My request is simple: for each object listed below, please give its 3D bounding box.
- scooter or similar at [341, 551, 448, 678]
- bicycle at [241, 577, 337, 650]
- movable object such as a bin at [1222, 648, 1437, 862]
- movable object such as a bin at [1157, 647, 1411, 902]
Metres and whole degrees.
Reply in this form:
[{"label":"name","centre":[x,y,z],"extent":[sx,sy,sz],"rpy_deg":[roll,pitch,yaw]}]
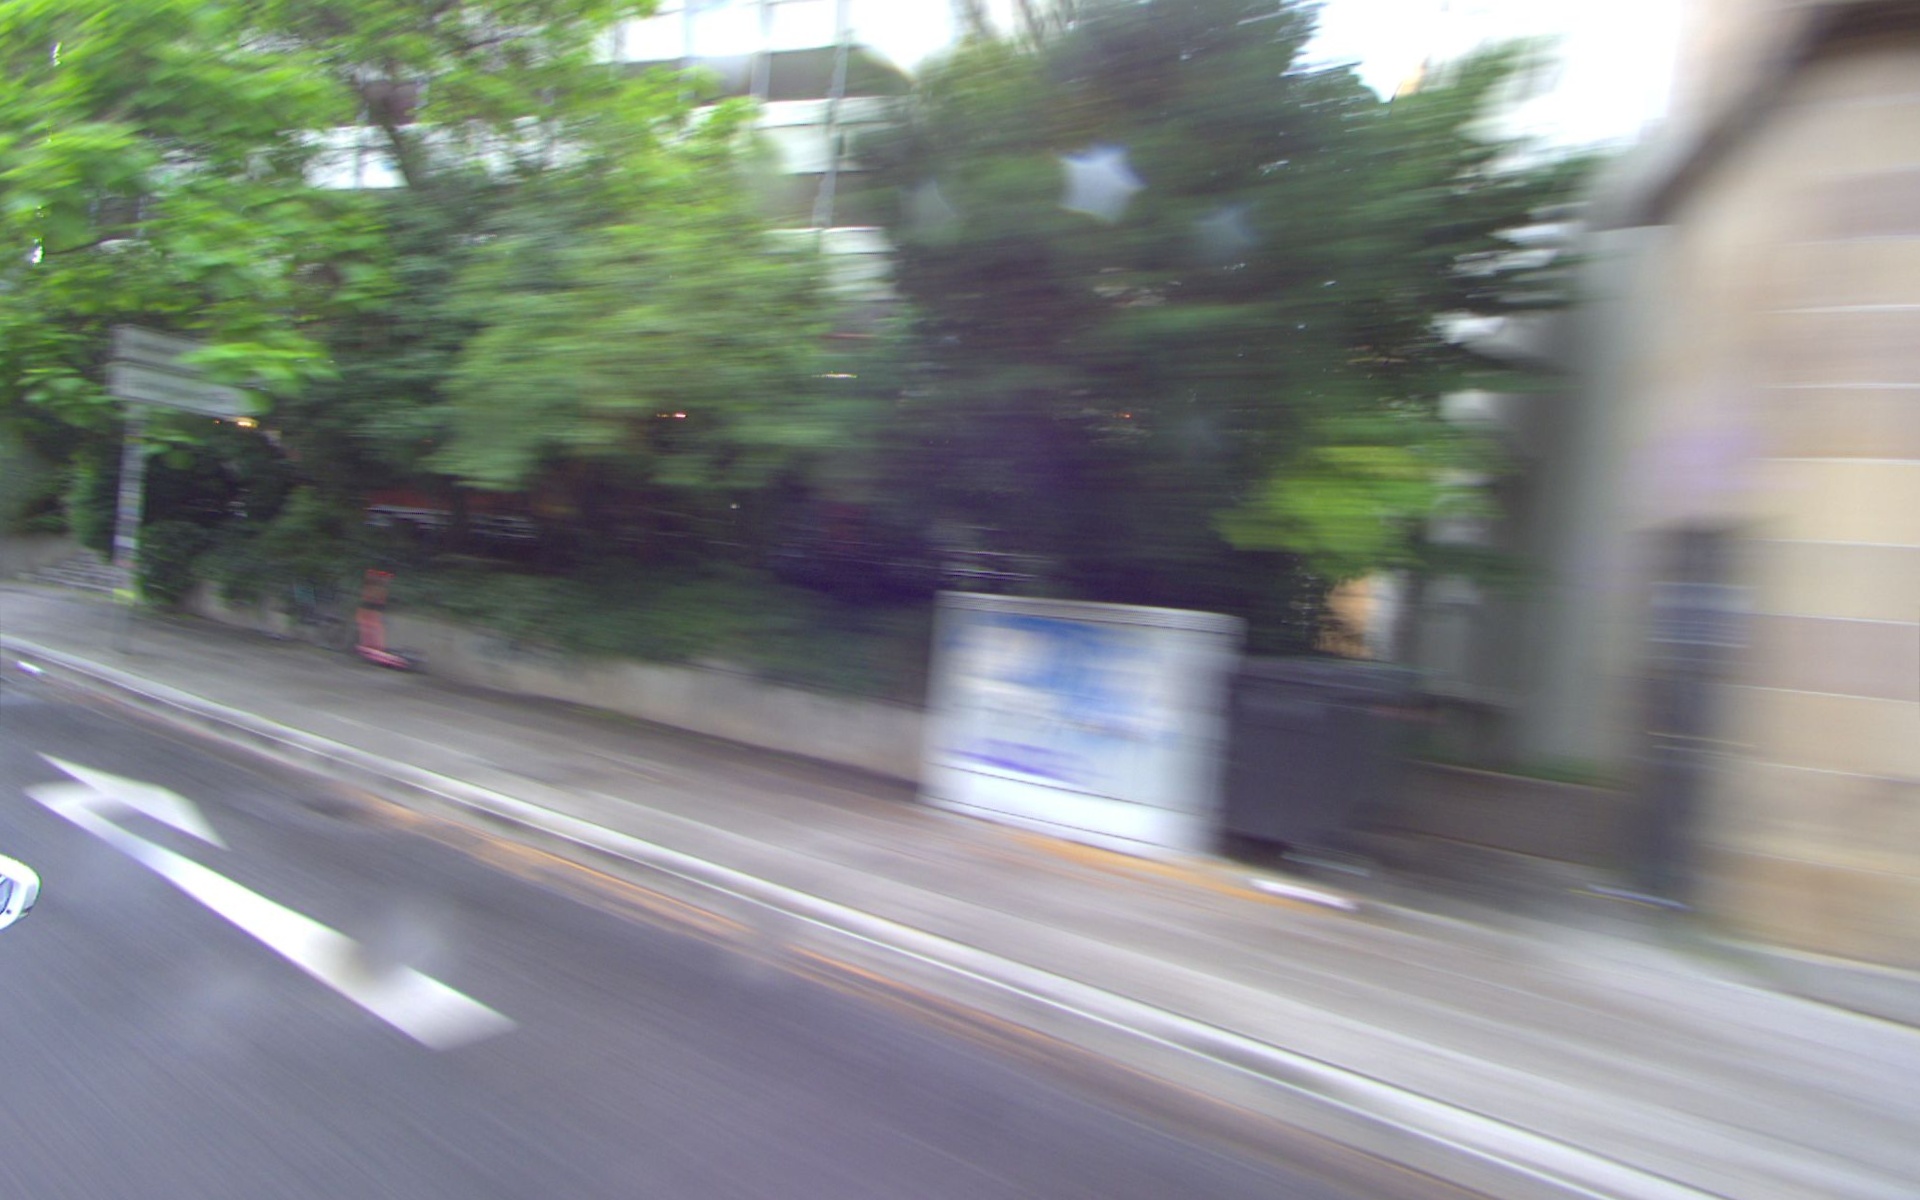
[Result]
[{"label":"scooter or similar","centre":[-6.303,0.147,11.201],"extent":[1.191,1.276,0.447],"rpy_deg":[7,3,31]},{"label":"bicycle","centre":[-8.307,0.161,12.446],"extent":[1.191,0.764,0.500],"rpy_deg":[7,2,31]},{"label":"movable object such as a bin","centre":[2.869,1.108,7.764],"extent":[1.213,1.328,1.239],"rpy_deg":[6,2,32]},{"label":"movable object such as a bin","centre":[2.152,1.042,6.614],"extent":[1.213,1.328,1.239],"rpy_deg":[6,2,32]}]
